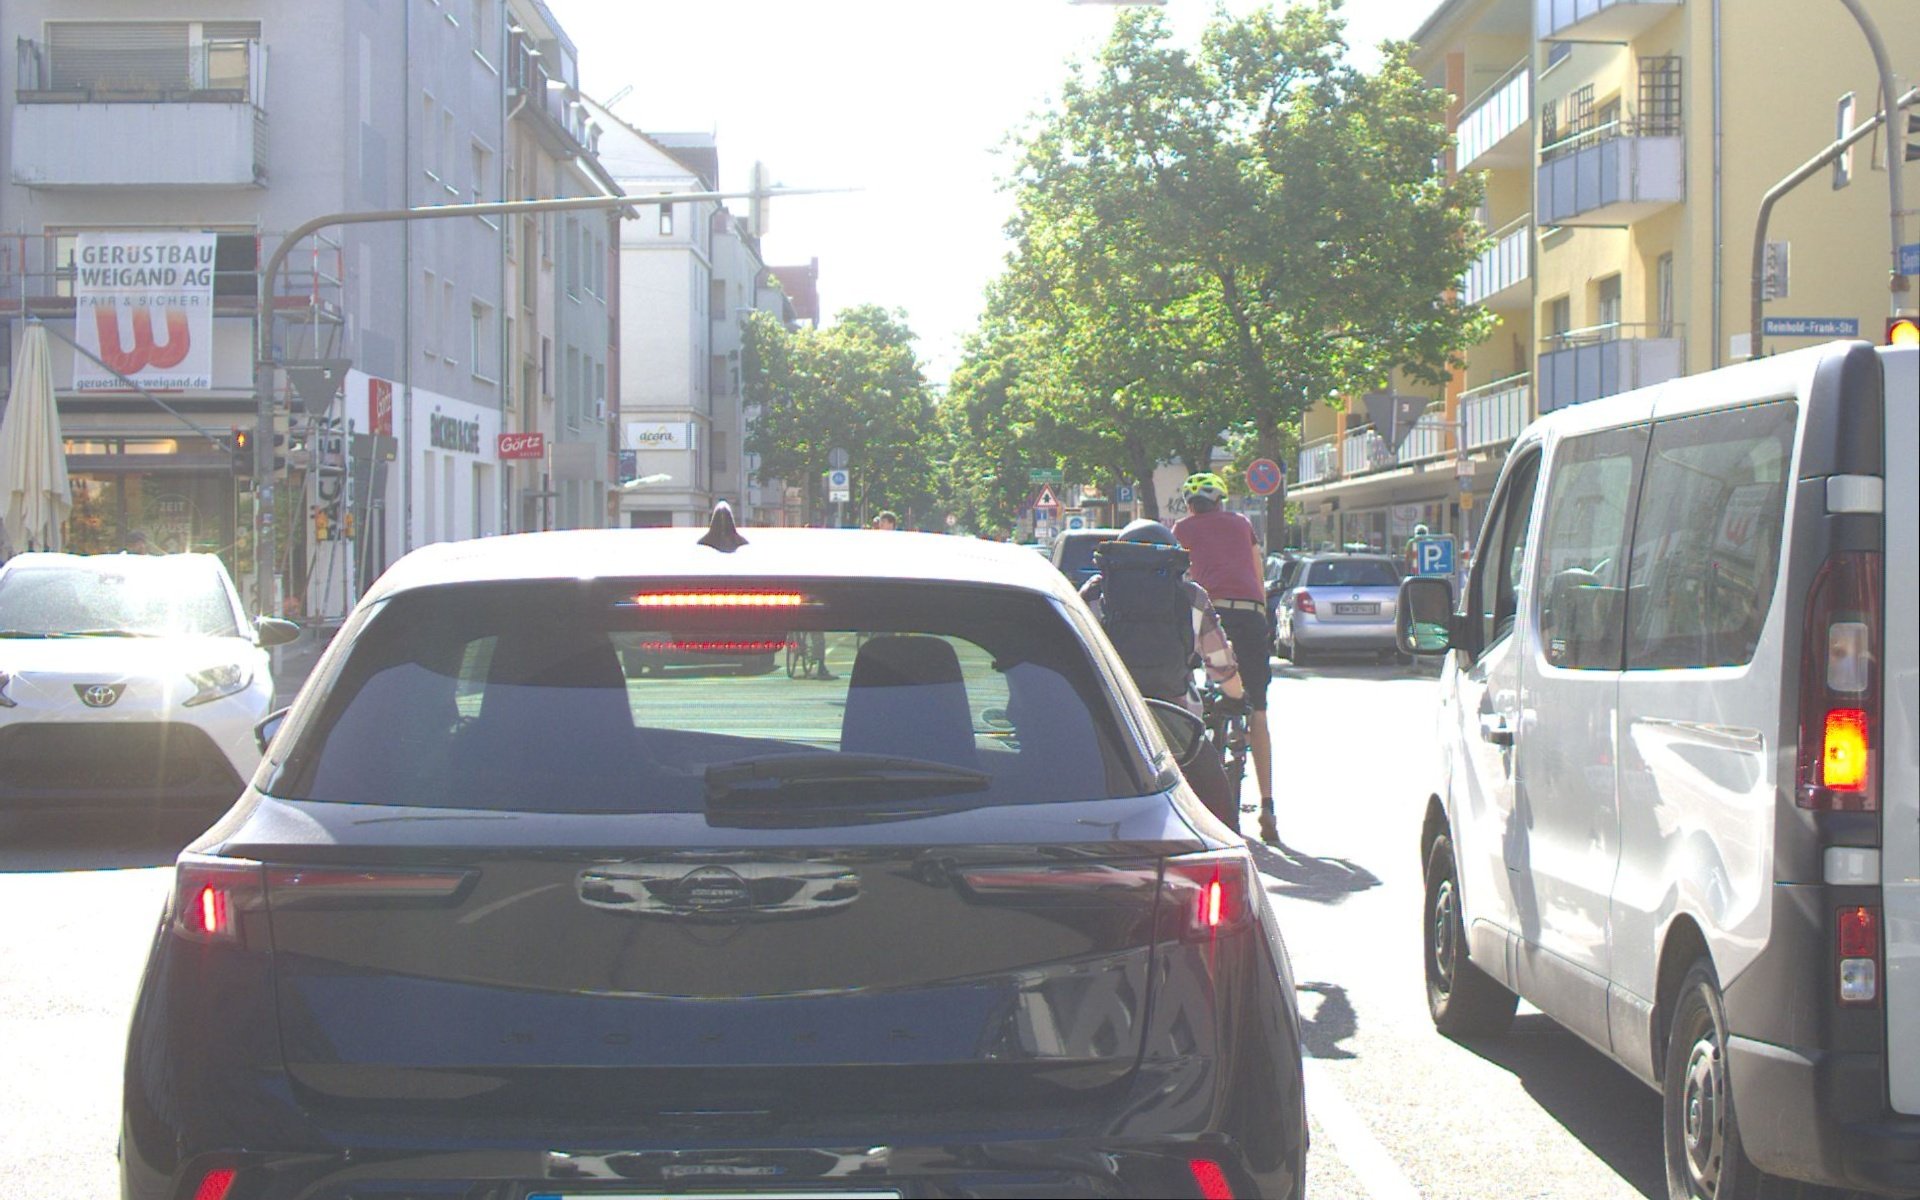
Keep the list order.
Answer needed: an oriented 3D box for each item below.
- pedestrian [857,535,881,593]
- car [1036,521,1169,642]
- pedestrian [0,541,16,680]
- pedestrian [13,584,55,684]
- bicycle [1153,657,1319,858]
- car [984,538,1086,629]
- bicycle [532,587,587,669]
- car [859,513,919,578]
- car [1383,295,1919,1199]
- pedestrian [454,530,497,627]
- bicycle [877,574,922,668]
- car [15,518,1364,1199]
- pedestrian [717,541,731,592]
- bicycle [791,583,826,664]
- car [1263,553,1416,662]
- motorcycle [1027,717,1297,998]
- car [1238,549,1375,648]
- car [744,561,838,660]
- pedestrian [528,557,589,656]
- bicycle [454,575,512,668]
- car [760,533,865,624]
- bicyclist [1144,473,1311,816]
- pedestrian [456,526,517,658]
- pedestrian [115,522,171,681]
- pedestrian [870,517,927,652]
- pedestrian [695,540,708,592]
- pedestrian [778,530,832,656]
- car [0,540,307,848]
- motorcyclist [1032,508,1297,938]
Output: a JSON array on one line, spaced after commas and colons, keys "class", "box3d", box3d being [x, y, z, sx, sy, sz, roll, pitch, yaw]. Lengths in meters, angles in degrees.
[{"class": "pedestrian", "box3d": [-2.651, -1.041, 100.217, 0.570, 1.684, 0.588, 0, 1, 11]}, {"class": "car", "box3d": [2.075, -0.305, 50.999, 1.902, 1.722, 4.073, 0, 1, 1]}, {"class": "pedestrian", "box3d": [-10.721, 0.112, 37.710, 0.584, 1.516, 0.650, 0, 1, -3]}, {"class": "pedestrian", "box3d": [-10.154, 0.369, 37.699, 0.355, 1.088, 0.462, 0, 1, -3]}, {"class": "bicycle", "box3d": [1.405, 0.785, 17.852, 0.577, 0.901, 2.301, 0, 1, -2]}, {"class": "car", "box3d": [1.434, -0.354, 67.147, 1.902, 1.722, 4.000, 0, 1, 0]}, {"class": "bicycle", "box3d": [-5.143, 0.349, 44.211, 0.521, 0.989, 2.340, 0, 1, -2]}, {"class": "car", "box3d": [-2.212, -1.704, 107.992, 1.855, 2.007, 3.881, 0, 1, -1]}, {"class": "car", "box3d": [2.446, 0.428, 8.673, 1.993, 1.972, 4.896, 2, 1, -1]}, {"class": "pedestrian", "box3d": [-7.617, -0.341, 54.048, 0.617, 1.516, 0.725, 0, 1, -3]}, {"class": "bicycle", "box3d": [-0.779, 0.251, 43.895, 0.521, 1.143, 2.170, 0, 1, -2]}, {"class": "car", "box3d": [-0.432, 0.620, 6.532, 1.770, 1.525, 4.001, 0, 1, -2]}, {"class": "pedestrian", "box3d": [-7.645, -1.082, 111.365, 0.402, 1.669, 0.418, 0, 1, -1]}, {"class": "bicycle", "box3d": [-1.948, 0.294, 44.219, 0.443, 0.989, 2.069, 0, 1, -2]}, {"class": "car", "box3d": [5.198, 0.070, 47.467, 1.634, 1.428, 3.957, 0, 1, -1]}, {"class": "motorcycle", "box3d": [0.693, 0.891, 12.426, 0.825, 0.842, 1.885, 0, 1, -1]}, {"class": "car", "box3d": [5.219, -0.049, 52.224, 1.634, 1.428, 4.000, 0, 1, -1]}, {"class": "car", "box3d": [-3.554, 0.195, 72.837, 1.849, 2.007, 4.000, 0, 1, -1]}, {"class": "pedestrian", "box3d": [-5.111, 0.073, 43.812, 0.706, 1.249, 0.802, 0, 1, -2]}, {"class": "bicycle", "box3d": [-6.117, 0.256, 44.156, 0.521, 1.143, 2.284, 0, 1, -2]}, {"class": "car", "box3d": [-2.851, -0.441, 67.149, 1.825, 1.722, 4.000, 0, 1, 1]}, {"class": "bicyclist", "box3d": [1.368, 0.212, 17.802, 0.689, 1.707, 1.414, 0, 1, -2]}, {"class": "pedestrian", "box3d": [-6.045, -0.104, 43.923, 0.706, 1.672, 0.802, 0, 1, -2]}, {"class": "pedestrian", "box3d": [-9.123, 0.013, 38.415, 0.561, 1.769, 0.584, 0, 1, -9]}, {"class": "pedestrian", "box3d": [-0.785, -0.202, 43.836, 0.706, 1.695, 0.802, 0, 1, -2]}, {"class": "pedestrian", "box3d": [-8.404, -1.104, 111.692, 0.402, 1.669, 0.418, 0, 1, -1]}, {"class": "pedestrian", "box3d": [-1.984, -0.090, 44.045, 0.680, 1.600, 0.762, 0, 1, -2]}, {"class": "car", "box3d": [-4.603, 0.432, 19.005, 1.765, 1.531, 3.787, 0, 1, -8]}, {"class": "motorcyclist", "box3d": [0.724, 0.421, 12.553, 0.864, 1.497, 1.160, 0, 1, -2]}]
